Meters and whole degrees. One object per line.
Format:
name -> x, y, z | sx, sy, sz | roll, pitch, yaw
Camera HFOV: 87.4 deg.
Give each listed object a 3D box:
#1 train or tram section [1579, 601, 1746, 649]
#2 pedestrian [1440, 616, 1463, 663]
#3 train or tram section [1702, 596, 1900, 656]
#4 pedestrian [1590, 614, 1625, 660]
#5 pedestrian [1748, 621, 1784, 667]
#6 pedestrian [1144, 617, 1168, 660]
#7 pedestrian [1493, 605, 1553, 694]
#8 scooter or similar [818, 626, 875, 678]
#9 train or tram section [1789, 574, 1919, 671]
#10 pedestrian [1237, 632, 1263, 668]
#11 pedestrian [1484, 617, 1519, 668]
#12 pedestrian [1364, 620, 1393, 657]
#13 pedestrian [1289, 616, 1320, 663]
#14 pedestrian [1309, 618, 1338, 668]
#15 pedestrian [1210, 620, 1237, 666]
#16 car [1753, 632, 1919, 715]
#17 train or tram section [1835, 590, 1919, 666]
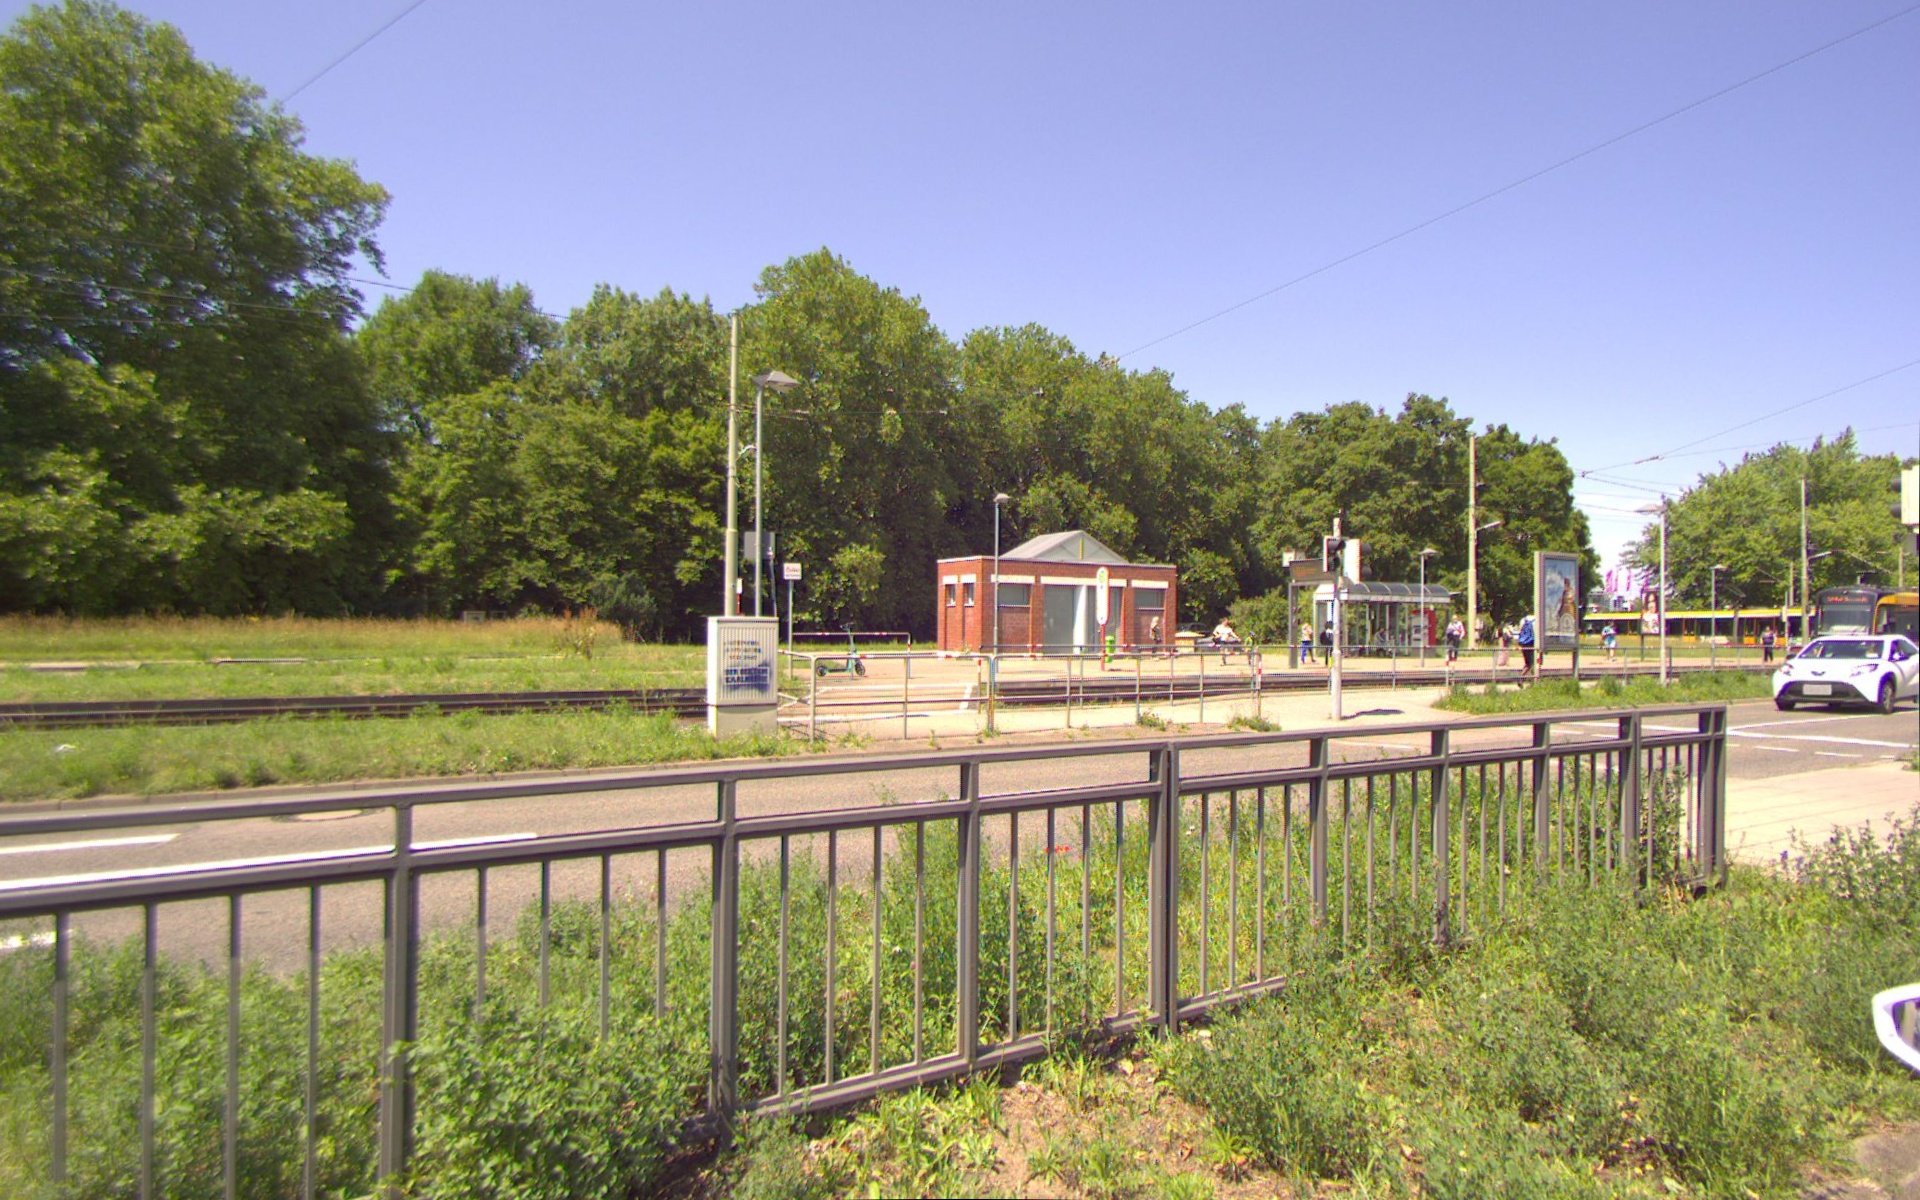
train or tram section -> 64.970, 2.268, 94.002 | 3.162, 3.984, 18.505 | 1, -1, 1
pedestrian -> 19.669, 1.566, 40.181 | 0.707, 1.824, 0.845 | 0, -1, 17
train or tram section -> 62.889, 1.920, 76.197 | 3.160, 3.984, 18.513 | 0, -1, 12
pedestrian -> 28.891, 1.641, 44.832 | 1.009, 2.040, 0.976 | 1, -1, -30
pedestrian -> 36.813, 2.009, 45.876 | 1.009, 2.040, 0.976 | 1, -1, -30
pedestrian -> 6.839, 1.345, 35.060 | 0.563, 1.499, 0.636 | 1, -1, -30
pedestrian -> 12.074, 1.038, 21.548 | 0.832, 1.802, 0.714 | -1, 5, -30
scooter or similar -> -2.639, 1.205, 23.452 | 1.217, 1.183, 0.508 | 1, -1, -30
train or tram section -> 44.609, 1.137, 47.730 | 18.310, 3.984, 3.195 | 1, -1, -35
pedestrian -> 9.507, 1.629, 32.935 | 0.563, 1.139, 0.636 | 1, -1, -30
pedestrian -> 20.031, 1.553, 37.155 | 0.832, 1.802, 0.714 | -1, 5, -30
pedestrian -> 17.243, 1.577, 41.375 | 0.710, 1.531, 0.841 | 1, -1, -19
pedestrian -> 12.075, 1.383, 35.254 | 0.799, 1.611, 0.668 | 1, -1, -30
pedestrian -> 11.734, 1.390, 32.405 | 0.688, 1.575, 0.629 | 1, -1, -42
pedestrian -> 8.637, 1.411, 32.915 | 0.576, 1.476, 0.636 | 1, -1, -30
car -> 18.099, 1.437, 20.465 | 3.747, 1.514, 1.836 | 1, -1, -30
train or tram section -> 56.223, 1.680, 60.046 | 3.171, 3.984, 18.453 | 0, -1, 32
